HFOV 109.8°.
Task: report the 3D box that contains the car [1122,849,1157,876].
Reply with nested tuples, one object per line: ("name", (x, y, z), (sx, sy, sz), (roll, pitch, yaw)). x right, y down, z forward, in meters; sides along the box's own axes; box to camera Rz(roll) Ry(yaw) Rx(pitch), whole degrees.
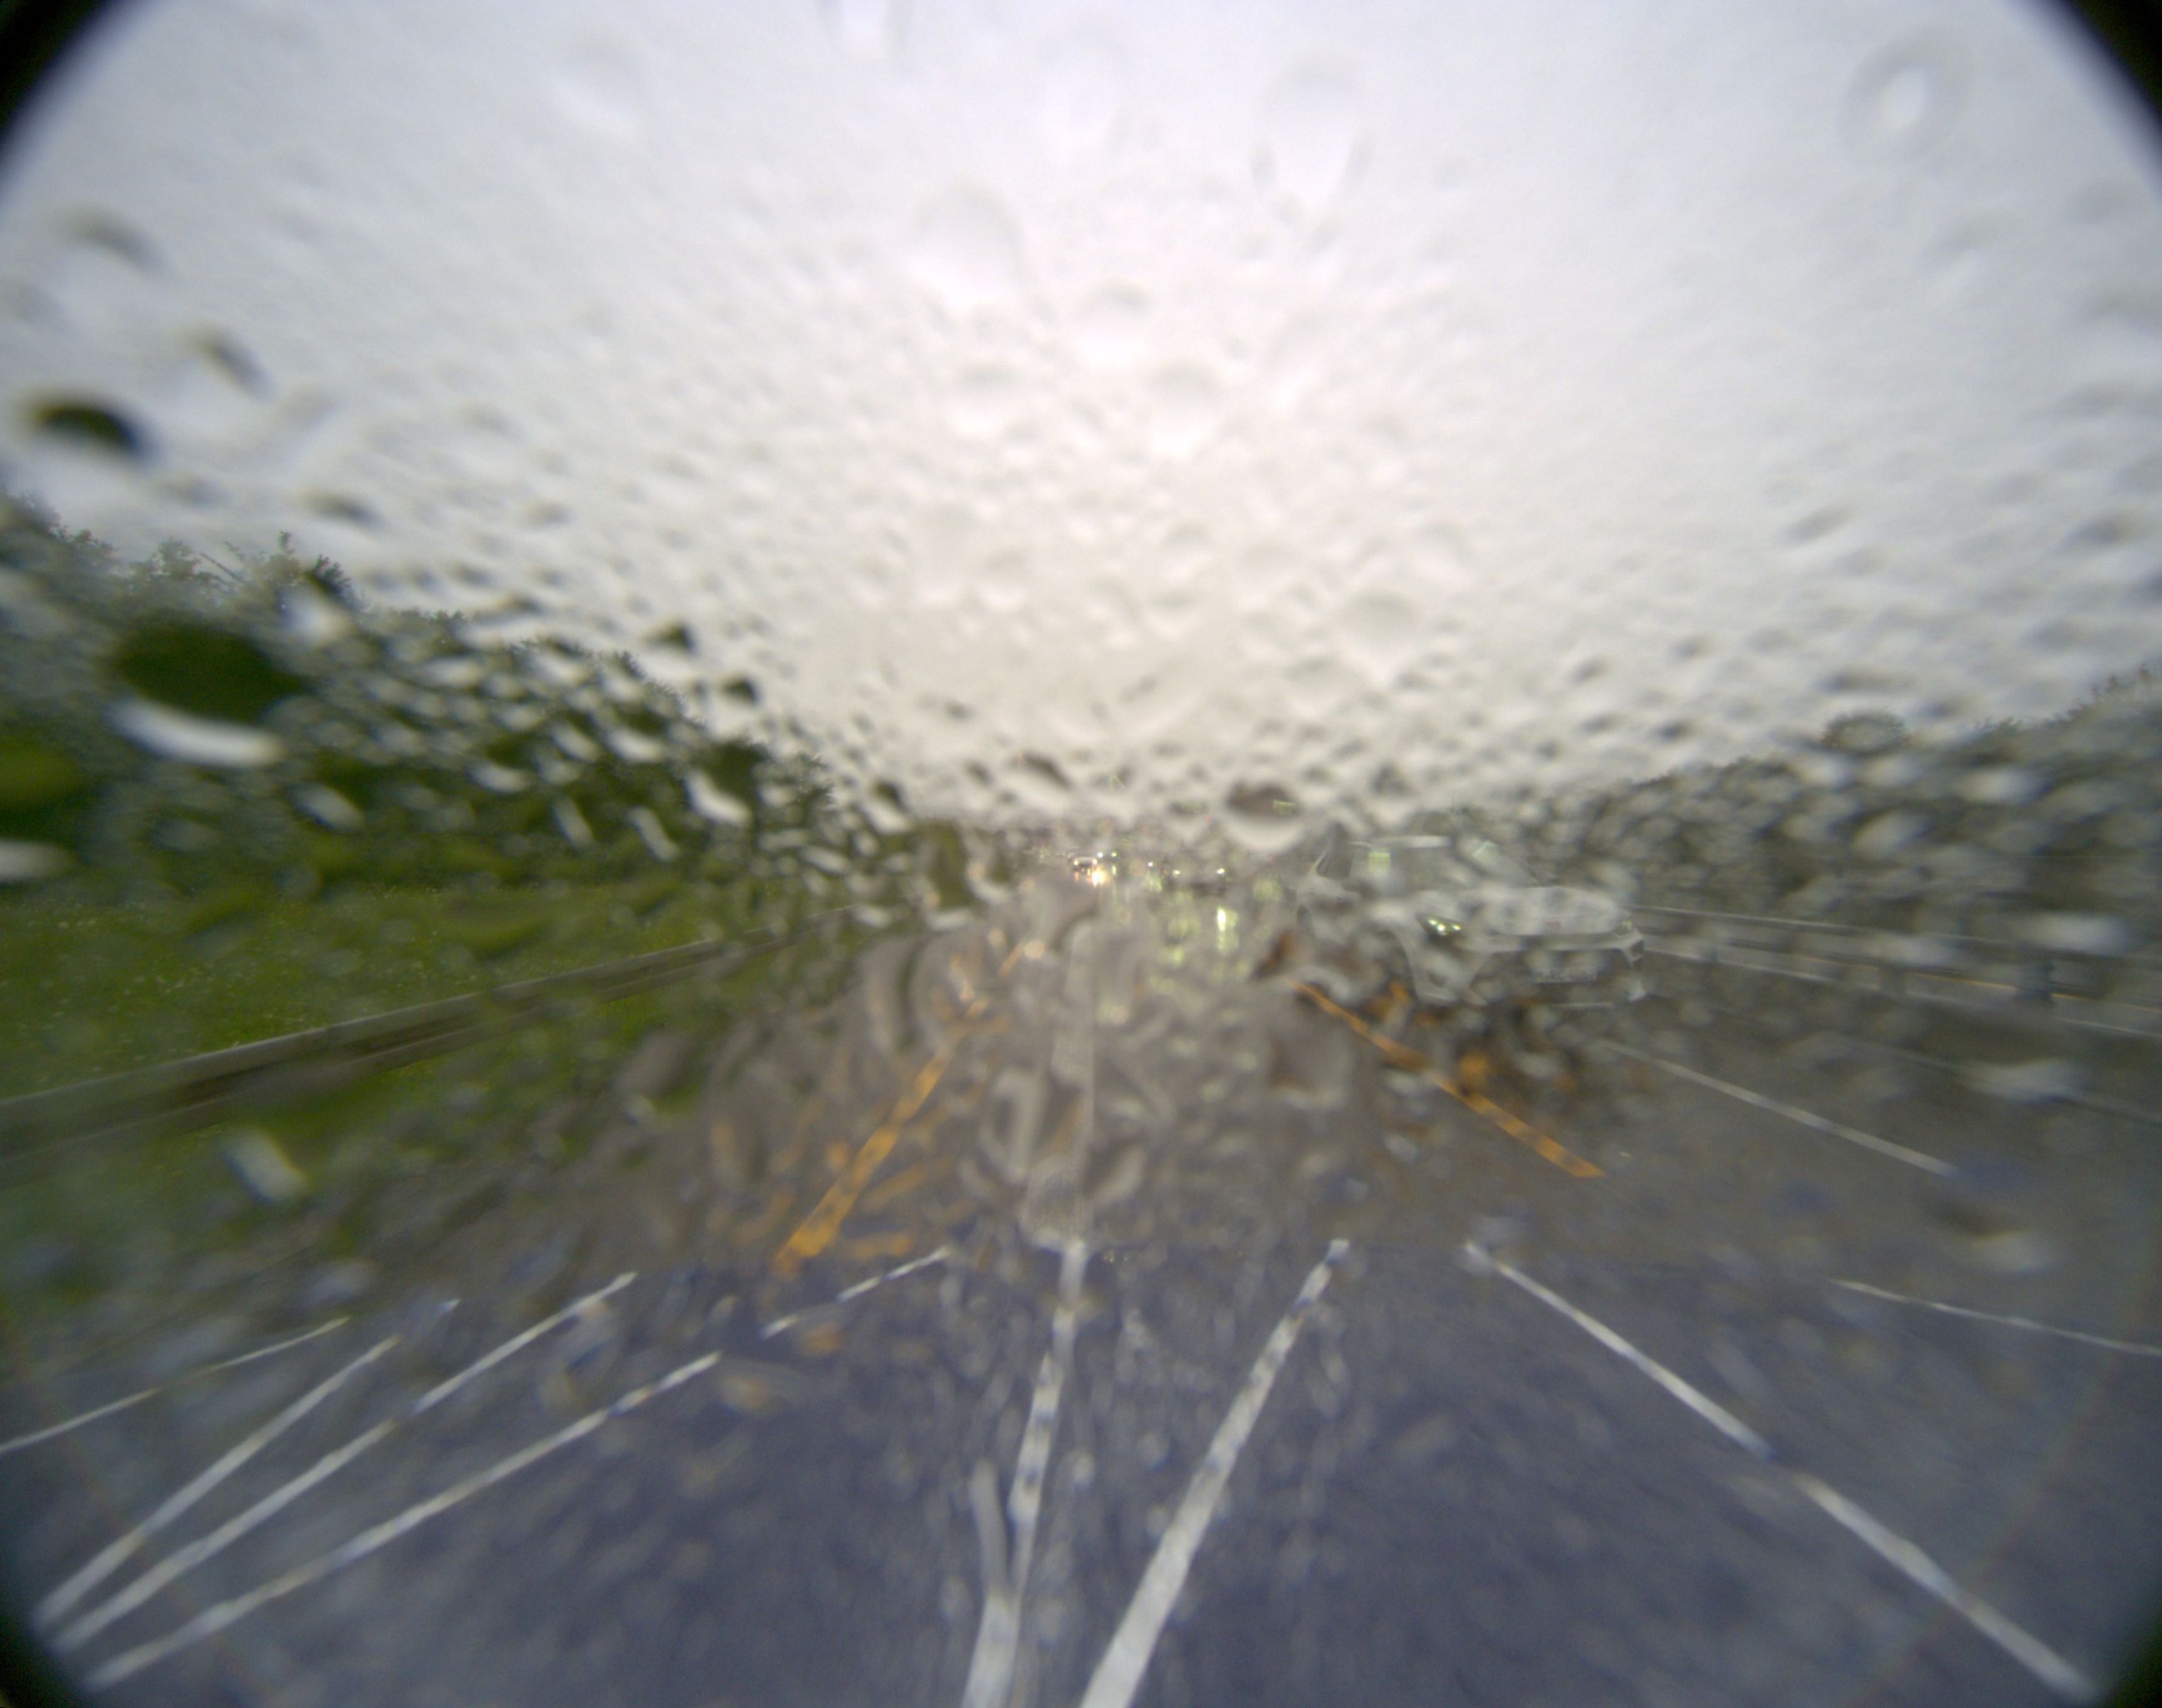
("car", (3.557, 0.483, 46.836), (1.792, 1.481, 3.999), (-3, 1, 0))

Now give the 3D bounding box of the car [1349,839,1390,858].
("car", (30.395, -0.588, 80.225), (2.099, 1.955, 5.363), (-2, 1, -1))

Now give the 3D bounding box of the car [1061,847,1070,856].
("car", (-3.194, -0.532, 156.094), (1.673, 1.804, 3.998), (-1, 1, -2))

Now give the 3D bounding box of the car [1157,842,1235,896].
("car", (3.831, 0.433, 26.157), (2.069, 1.618, 5.195), (-2, 1, 2))

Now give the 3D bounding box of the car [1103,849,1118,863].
("car", (3.378, 0.253, 88.892), (1.589, 1.528, 3.830), (-1, 1, 0))

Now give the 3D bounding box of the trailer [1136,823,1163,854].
("trailer", (9.344, -2.077, 104.821), (2.500, 4.026, 12.584), (-1, 1, 0))

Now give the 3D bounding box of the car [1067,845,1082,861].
("car", (-0.811, -0.125, 89.469), (1.673, 1.804, 3.999), (-1, 1, -1))

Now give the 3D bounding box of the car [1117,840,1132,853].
("car", (6.482, -1.115, 113.639), (1.998, 1.873, 4.432), (-1, 0, 1))

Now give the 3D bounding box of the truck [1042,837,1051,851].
("truck", (-10.525, -2.956, 230.624), (2.507, 4.067, 15.195), (-3, 1, -2))

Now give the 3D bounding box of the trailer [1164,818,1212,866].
("trailer", (9.773, -1.052, 70.813), (2.914, 4.065, 12.219), (-1, 0, 1))

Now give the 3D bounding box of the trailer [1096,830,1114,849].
("trailer", (5.309, -3.262, 170.671), (2.607, 4.054, 12.424), (-2, 1, -5))

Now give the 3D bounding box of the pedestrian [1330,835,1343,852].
("pedestrian", (32.615, -1.339, 97.026), (1.108, 2.002, 1.125), (-3, 1, -4))

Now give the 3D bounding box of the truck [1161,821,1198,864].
("truck", (9.864, -1.108, 76.869), (2.891, 4.077, 6.926), (-1, 0, 1))

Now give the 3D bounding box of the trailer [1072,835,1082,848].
("trailer", (-1.438, -4.177, 251.064), (2.620, 3.984, 11.922), (-3, 1, -2))

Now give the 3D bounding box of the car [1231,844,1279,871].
("car", (10.594, 0.186, 46.646), (1.998, 1.497, 4.295), (-2, 1, 1))

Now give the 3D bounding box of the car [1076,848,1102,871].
("car", (0.594, 0.397, 62.375), (1.881, 1.772, 3.998), (-1, 1, -3))

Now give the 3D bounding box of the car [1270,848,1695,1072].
("car", (3.495, 0.744, 7.944), (1.932, 1.542, 5.006), (-1, 1, 2))

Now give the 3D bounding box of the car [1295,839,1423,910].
("car", (7.101, 0.451, 19.864), (1.806, 1.584, 4.183), (-3, 1, 1))

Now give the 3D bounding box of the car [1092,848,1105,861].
("car", (2.613, 0.037, 113.852), (1.673, 1.804, 3.998), (-1, 1, -2))

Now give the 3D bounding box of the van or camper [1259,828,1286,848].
("van or camper", (43.430, -3.576, 172.439), (3.376, 4.299, 8.503), (-3, 1, -3))
